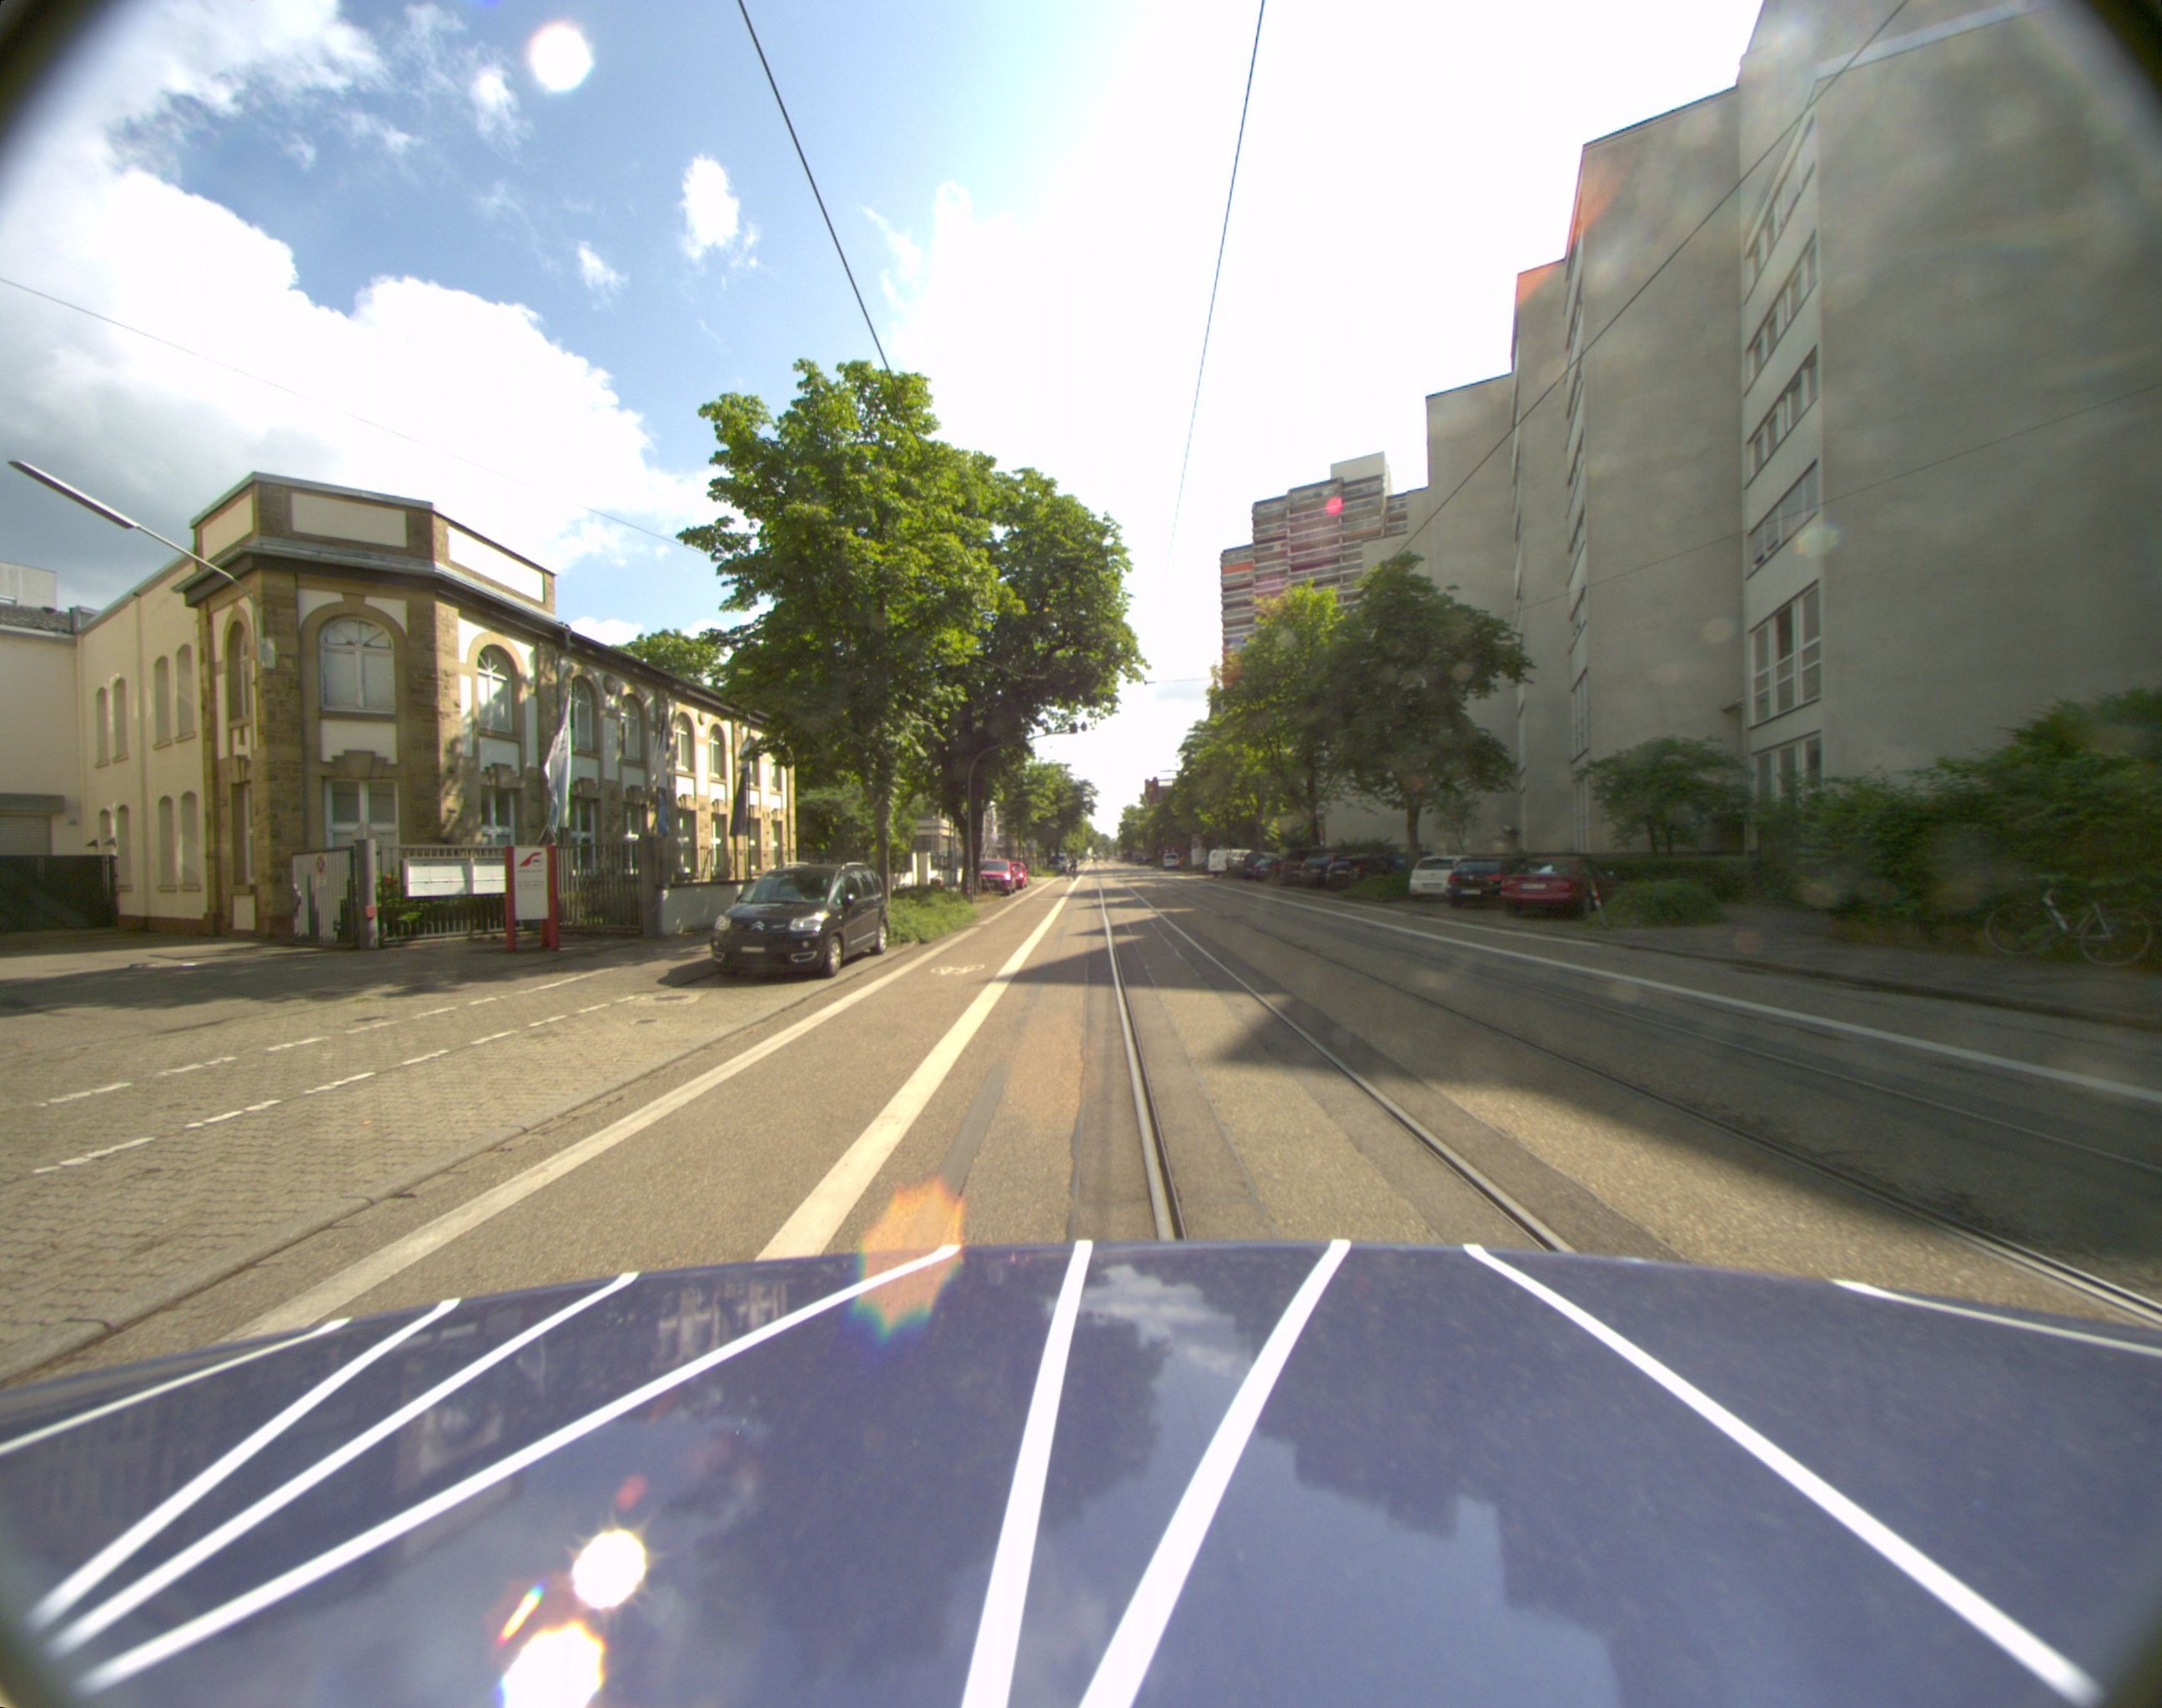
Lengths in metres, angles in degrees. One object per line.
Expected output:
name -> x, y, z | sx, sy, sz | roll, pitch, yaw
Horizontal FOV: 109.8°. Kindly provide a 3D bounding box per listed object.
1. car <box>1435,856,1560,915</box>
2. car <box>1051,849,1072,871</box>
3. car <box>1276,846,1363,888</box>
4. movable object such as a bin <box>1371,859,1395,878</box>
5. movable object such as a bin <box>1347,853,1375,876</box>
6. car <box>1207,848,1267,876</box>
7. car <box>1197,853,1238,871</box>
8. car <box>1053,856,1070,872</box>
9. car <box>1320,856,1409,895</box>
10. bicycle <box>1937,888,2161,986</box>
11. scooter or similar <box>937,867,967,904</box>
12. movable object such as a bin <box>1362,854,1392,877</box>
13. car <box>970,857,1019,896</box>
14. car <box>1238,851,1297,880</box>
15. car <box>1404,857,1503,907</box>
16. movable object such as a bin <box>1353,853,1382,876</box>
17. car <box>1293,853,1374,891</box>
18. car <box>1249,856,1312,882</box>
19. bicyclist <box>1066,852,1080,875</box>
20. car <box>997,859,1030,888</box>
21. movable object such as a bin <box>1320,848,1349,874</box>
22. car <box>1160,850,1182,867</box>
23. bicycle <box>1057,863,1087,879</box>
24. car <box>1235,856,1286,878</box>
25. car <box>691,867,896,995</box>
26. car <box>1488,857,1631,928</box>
car -> 11.689, 0.836, 21.249 | 3.815, 1.475, 1.693 | 1, 0, -38
car -> -2.461, 0.706, 98.028 | 2.337, 2.545, 5.389 | -4, 0, 0
car -> 11.953, 0.633, 37.876 | 5.180, 1.943, 1.911 | 1, 0, -45
movable object such as a bin -> 17.131, 0.818, 43.076 | 0.966, 0.981, 0.935 | 2, 1, 0
movable object such as a bin -> 17.546, 0.667, 47.648 | 1.196, 1.372, 1.441 | 2, 1, -2
car -> 11.731, 0.582, 57.041 | 4.695, 1.985, 1.963 | -1, 0, -41
car -> 12.723, 0.722, 70.717 | 1.737, 1.514, 3.893 | -1, 0, 45
car -> -2.236, 1.128, 87.679 | 1.750, 1.597, 4.236 | -4, 0, 0
car -> 11.675, 0.850, 31.186 | 4.009, 1.475, 1.736 | 1, 0, -41
bicycle -> 11.277, 0.918, 8.946 | 0.383, 0.953, 1.810 | -3, 0, 3
scooter or similar -> -4.532, 1.098, 26.813 | 0.341, 1.230, 1.262 | 2, 1, 25
movable object such as a bin -> 17.242, 0.665, 44.274 | 1.171, 1.276, 1.441 | 2, 1, 0
car -> -3.947, 0.989, 35.264 | 1.881, 1.666, 4.281 | 0, 0, -1
car -> 11.654, 0.702, 47.358 | 3.723, 1.683, 1.755 | 1, 0, -42
car -> 12.142, 0.857, 24.665 | 3.816, 1.475, 1.692 | 1, 0, -44
movable object such as a bin -> 17.250, 0.621, 45.745 | 1.167, 1.320, 1.441 | 2, 1, 0
car -> 11.468, 0.789, 34.387 | 4.009, 1.583, 1.736 | 1, 0, -43
car -> 11.597, 0.848, 44.040 | 4.009, 1.409, 1.755 | 1, 0, -45
bicyclist -> -0.527, 0.676, 52.685 | 0.740, 1.567, 0.644 | 0, 1, 25
car -> -3.752, 1.062, 42.570 | 1.604, 1.420, 3.595 | 2, 0, -2
movable object such as a bin -> 17.543, 0.466, 52.650 | 1.391, 1.771, 1.538 | 2, 1, -3
car -> 10.758, 0.523, 90.658 | 1.892, 1.840, 4.235 | -4, 0, -2
bicycle -> -0.600, 1.186, 52.732 | 1.995, 1.034, 0.658 | 0, 1, 24
car -> 12.082, 0.879, 51.105 | 1.717, 1.409, 4.009 | 1, 0, 40
car -> -4.344, 1.066, 12.235 | 1.701, 1.582, 4.202 | 1, 0, 0
car -> 11.526, 0.848, 18.206 | 3.979, 1.475, 1.841 | 1, 0, -42
